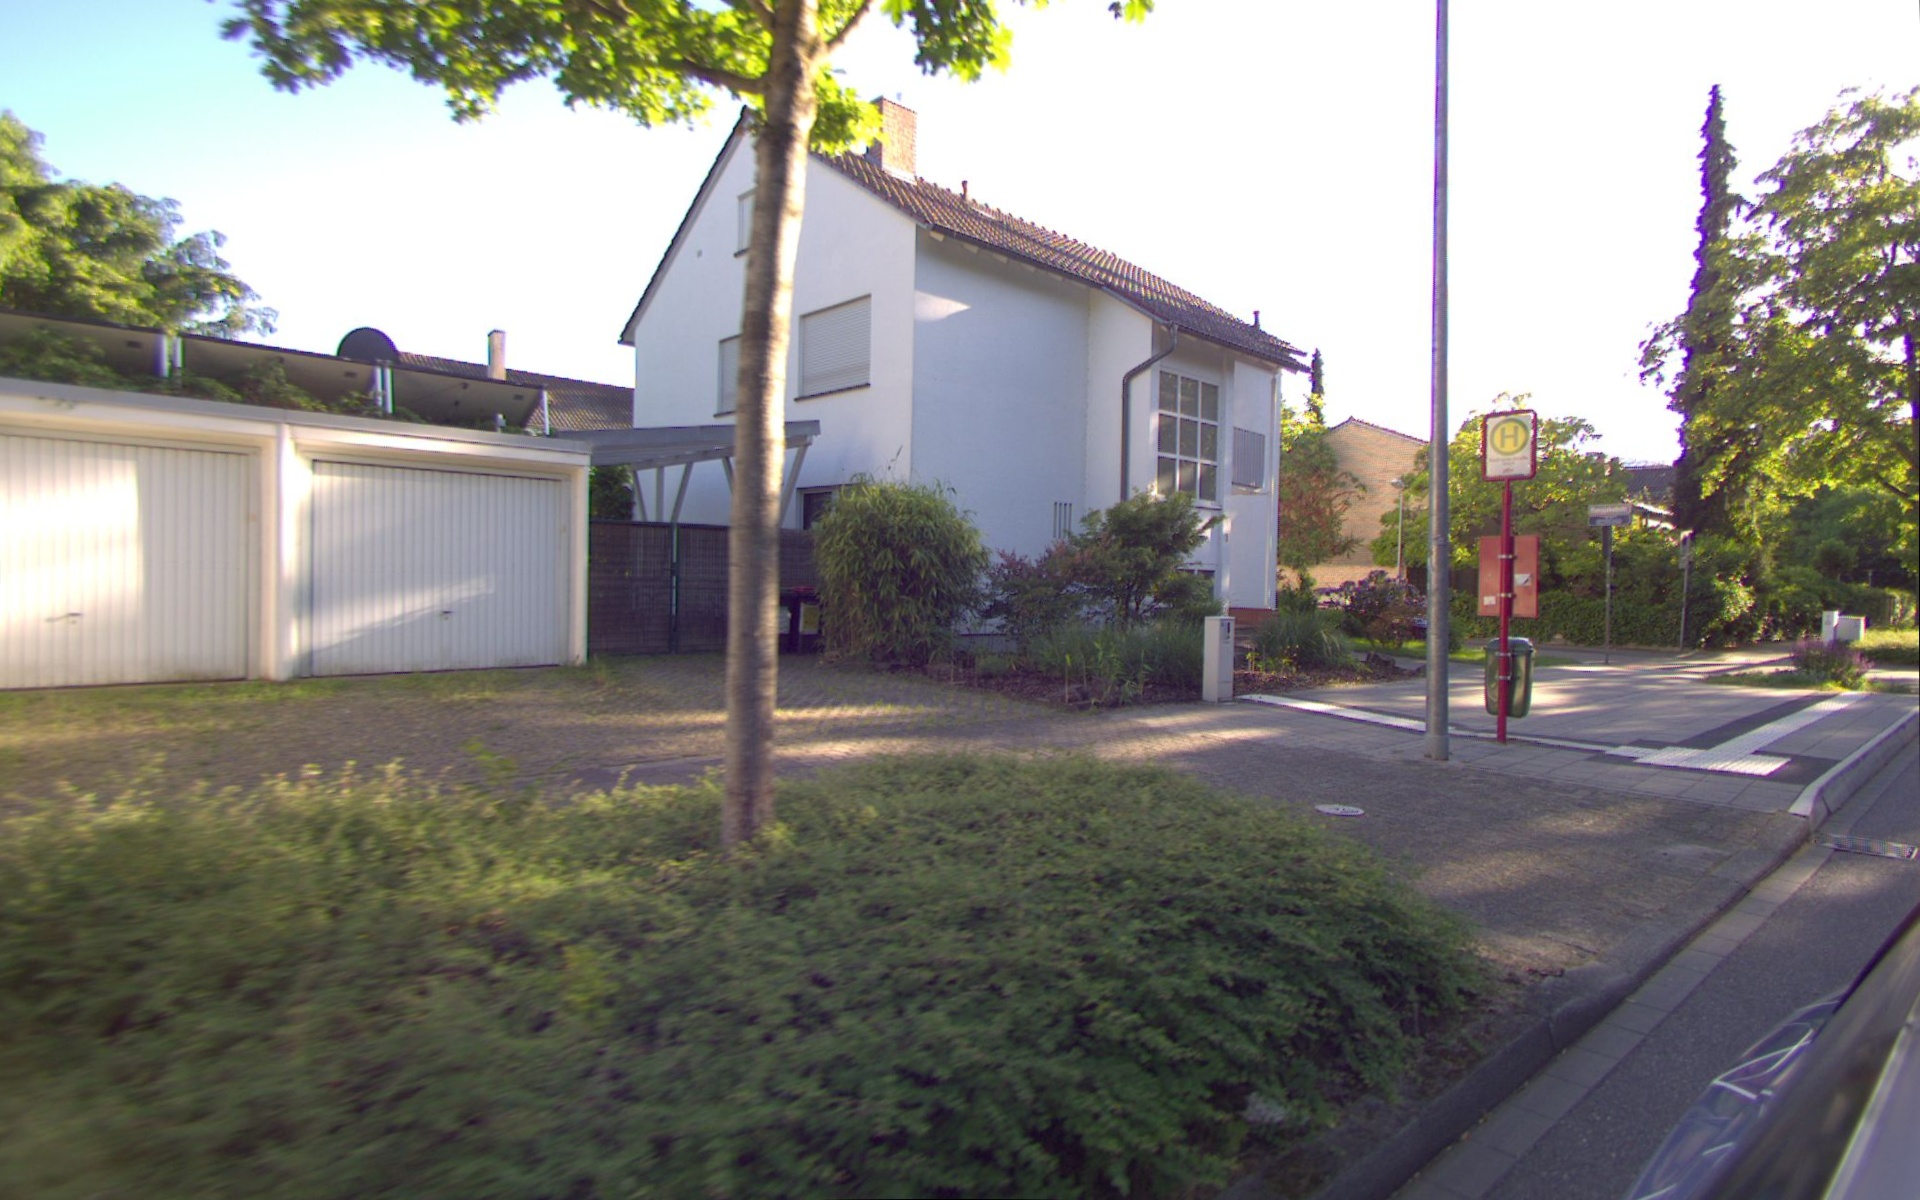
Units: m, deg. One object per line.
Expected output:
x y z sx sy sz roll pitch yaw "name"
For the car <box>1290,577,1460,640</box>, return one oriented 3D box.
10.700 0.167 26.221 3.732 1.520 1.664 1 1 44 "car"
